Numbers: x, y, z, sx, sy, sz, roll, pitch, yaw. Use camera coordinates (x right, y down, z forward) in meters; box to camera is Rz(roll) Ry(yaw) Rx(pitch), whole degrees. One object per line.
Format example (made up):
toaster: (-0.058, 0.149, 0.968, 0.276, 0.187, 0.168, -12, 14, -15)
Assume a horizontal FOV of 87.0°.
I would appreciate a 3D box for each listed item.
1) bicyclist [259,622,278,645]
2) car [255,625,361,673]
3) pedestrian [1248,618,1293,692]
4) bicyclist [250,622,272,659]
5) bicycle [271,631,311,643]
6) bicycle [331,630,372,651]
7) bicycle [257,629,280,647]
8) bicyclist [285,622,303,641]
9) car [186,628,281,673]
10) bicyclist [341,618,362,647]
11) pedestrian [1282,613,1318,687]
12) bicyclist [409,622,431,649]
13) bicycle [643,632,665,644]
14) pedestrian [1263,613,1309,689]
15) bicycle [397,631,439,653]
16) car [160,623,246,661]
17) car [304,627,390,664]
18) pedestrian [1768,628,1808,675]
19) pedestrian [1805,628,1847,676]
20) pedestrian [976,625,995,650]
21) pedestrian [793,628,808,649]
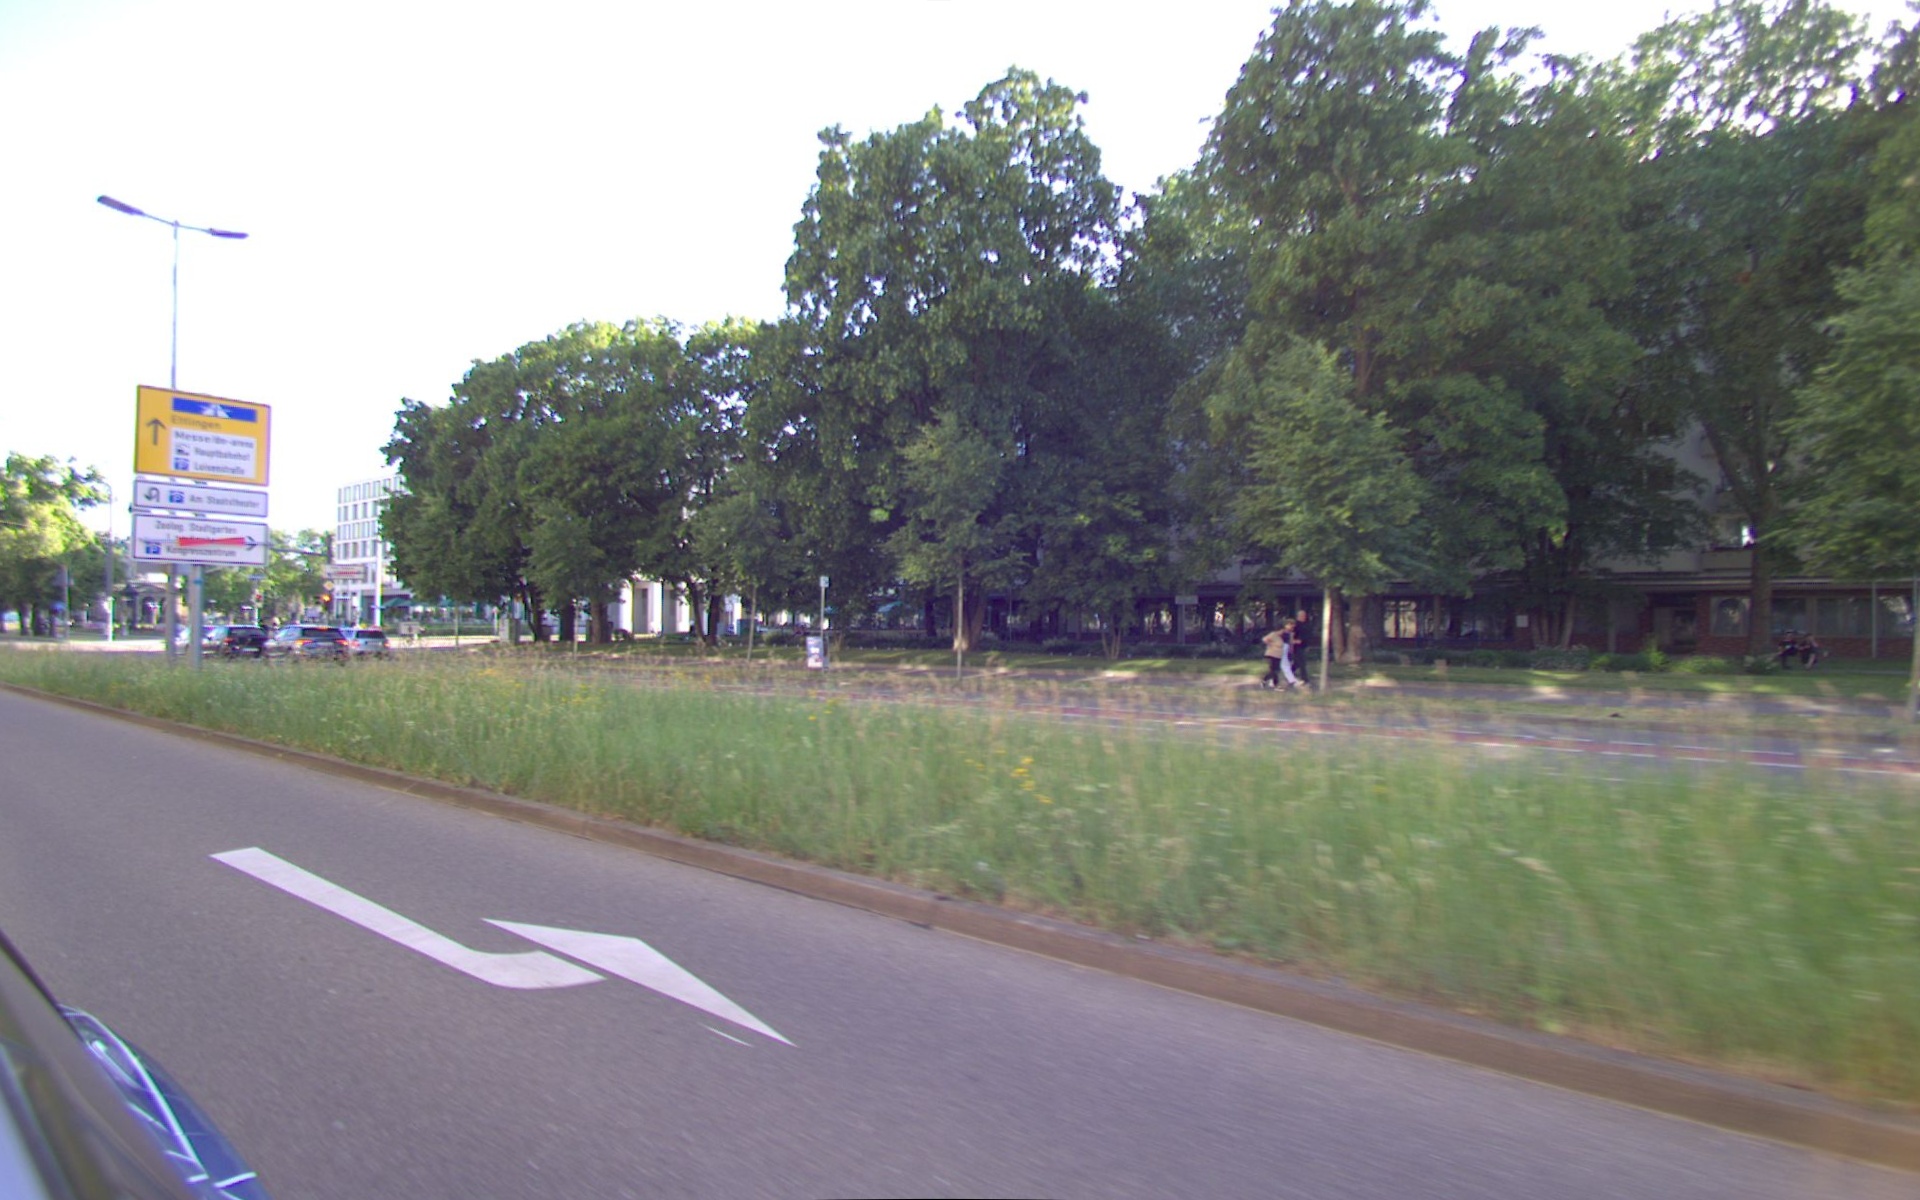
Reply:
bicyclist: (-47.722, 2.313, 69.856, 0.837, 1.631, 0.976, 1, -2, -21)
car: (-22.705, 1.654, 35.198, 4.057, 1.576, 1.973, -1, -2, 40)
pedestrian: (7.158, 1.252, 23.302, 0.726, 1.653, 0.734, -2, -2, 43)
bicyclist: (-33.019, 1.919, 47.817, 0.771, 1.692, 0.841, 2, -3, -36)
bicycle: (-49.821, 2.776, 75.388, 0.843, 0.858, 2.304, -1, -2, 41)
bicycle: (-37.622, 2.478, 62.614, 0.777, 1.249, 1.994, 1, -1, 39)
bicycle: (-47.734, 2.604, 69.887, 0.832, 1.240, 2.021, 1, -2, -21)
bicyclist: (-49.706, 2.357, 75.522, 0.826, 1.372, 0.959, -2, -2, 41)
car: (-28.764, 1.941, 40.019, 4.545, 1.688, 1.973, -1, -2, 40)
bicyclist: (-37.628, 2.034, 62.586, 0.754, 1.756, 0.827, 1, -1, 39)
pedestrian: (8.163, 1.198, 24.307, 0.655, 1.754, 0.518, -2, -2, 43)
bicyclist: (-35.432, 2.327, 66.406, 0.775, 1.703, 0.913, 1, -4, 39)
bicycle: (-24.229, 2.997, 80.110, 1.600, 0.896, 0.762, -1, -2, 32)
pedestrian: (7.686, 1.193, 23.848, 0.761, 1.754, 0.763, -2, -2, 43)
bicycle: (-35.529, 2.746, 66.403, 0.777, 1.249, 2.281, -8, -10, 39)
car: (-32.804, 1.777, 43.802, 4.545, 1.572, 1.973, -1, -2, 40)
car: (-27.177, 1.997, 44.808, 4.584, 1.538, 1.913, -1, -4, 41)
pedestrian: (27.751, 1.700, 33.927, 0.892, 1.552, 0.895, -1, -2, 33)
pedestrian: (28.537, 1.713, 33.358, 0.892, 1.552, 0.895, -1, -2, 33)
pedestrian: (1.406, 2.077, 55.732, 0.716, 1.350, 0.817, -2, -2, 42)
pedestrian: (-10.354, 2.500, 65.688, 0.599, 1.350, 0.723, -2, -2, 42)
